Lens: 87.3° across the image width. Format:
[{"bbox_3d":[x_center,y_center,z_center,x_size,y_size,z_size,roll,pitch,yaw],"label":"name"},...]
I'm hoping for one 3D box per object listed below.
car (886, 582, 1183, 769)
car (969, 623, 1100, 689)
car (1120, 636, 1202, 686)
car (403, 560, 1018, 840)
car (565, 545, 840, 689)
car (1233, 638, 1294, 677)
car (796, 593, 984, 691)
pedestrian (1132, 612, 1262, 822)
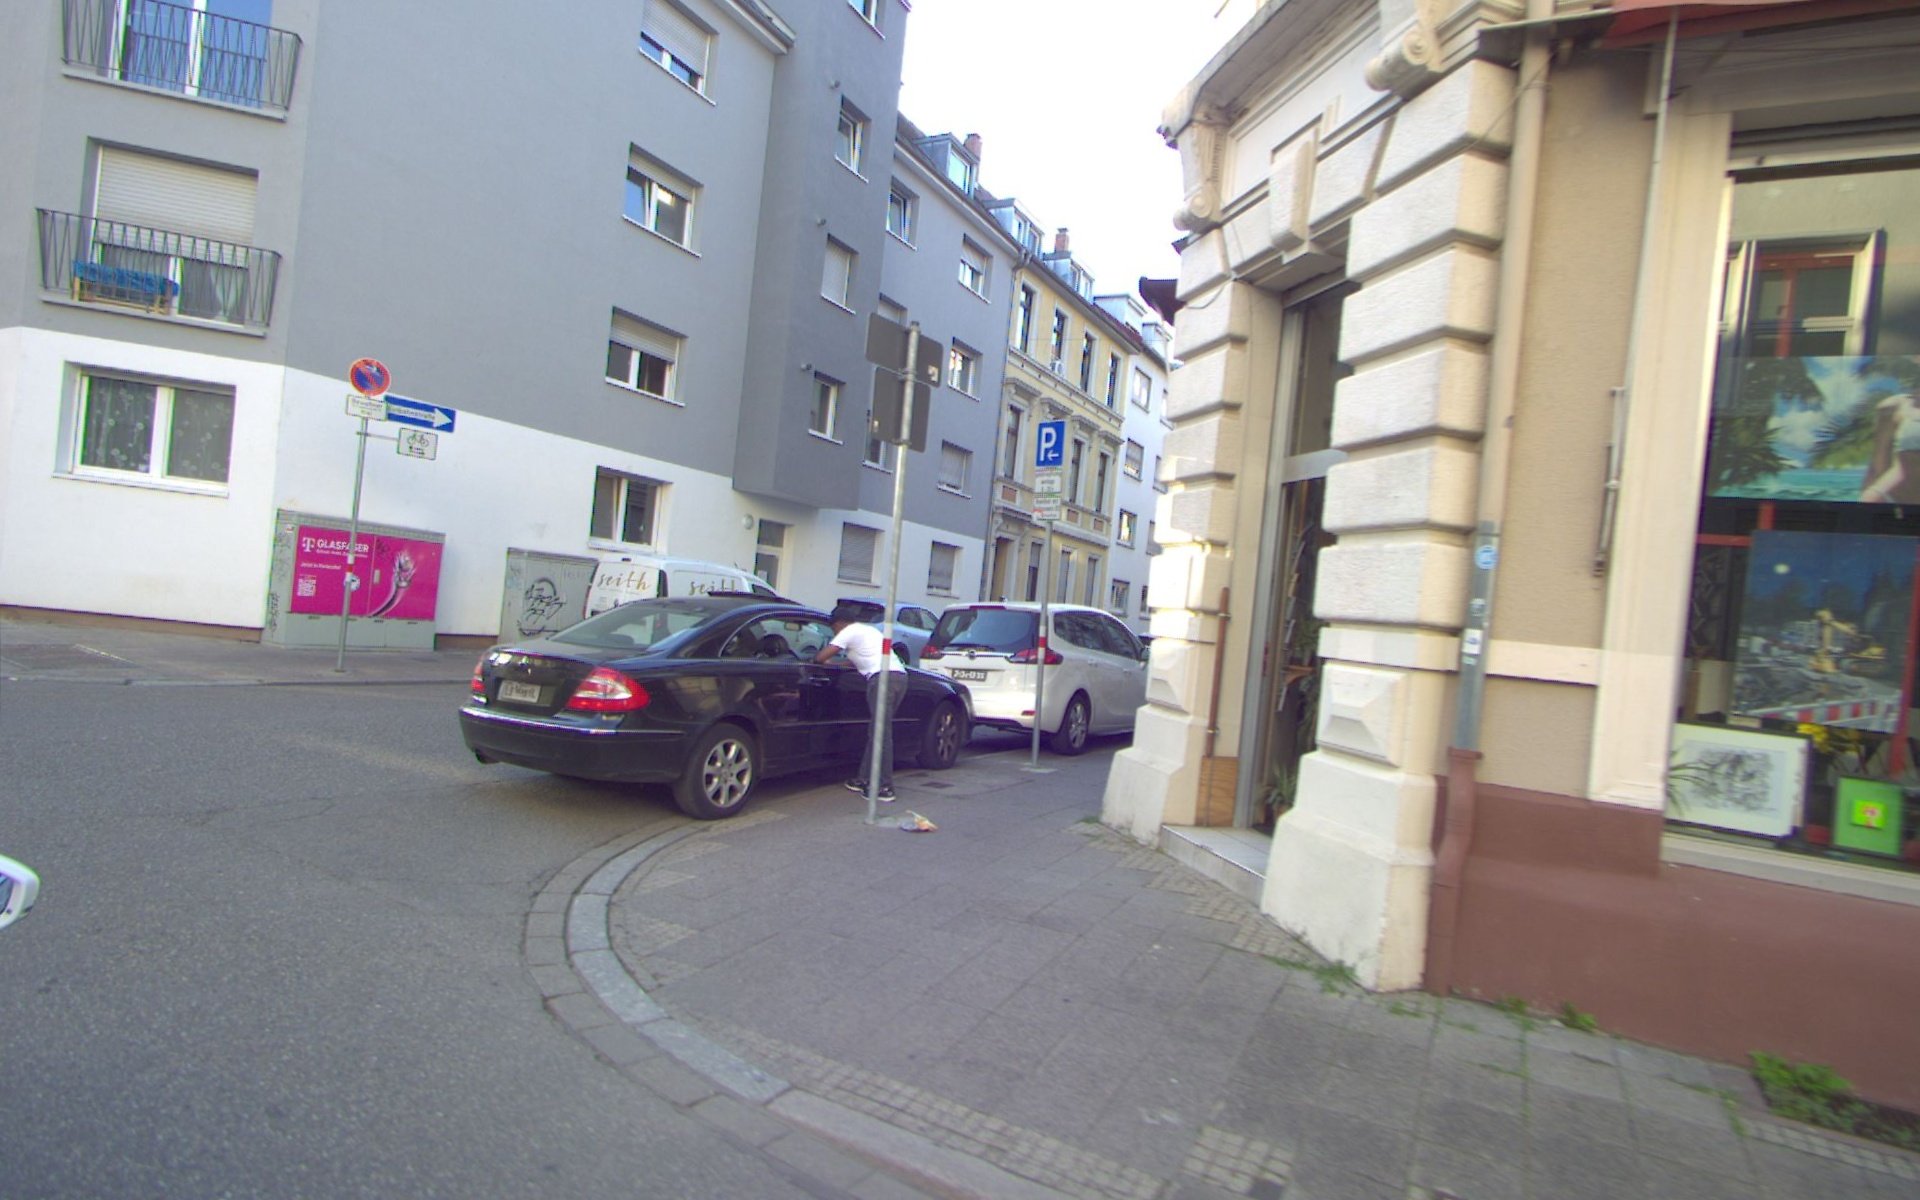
[{"bbox_3d":[1.137,0.889,12.448,1.792,1.745,4.453,6,0,30],"label":"car"},{"bbox_3d":[1.992,1.471,25.694,1.660,1.348,4.127,6,-2,29],"label":"car"},{"bbox_3d":[7.089,2.153,35.248,1.607,1.490,3.748,6,0,30],"label":"car"},{"bbox_3d":[-1.536,0.689,8.030,1.859,1.425,4.718,6,-1,32],"label":"car"},{"bbox_3d":[-3.817,0.341,15.698,1.608,1.836,4.179,6,0,29],"label":"car"},{"bbox_3d":[15.479,2.943,51.249,1.967,1.682,3.970,6,-1,30],"label":"car"},{"bbox_3d":[-1.259,0.844,20.180,1.737,1.583,4.361,6,0,25],"label":"car"},{"bbox_3d":[1.854,0.886,7.847,0.705,1.489,0.579,6,0,30],"label":"pedestrian"}]
